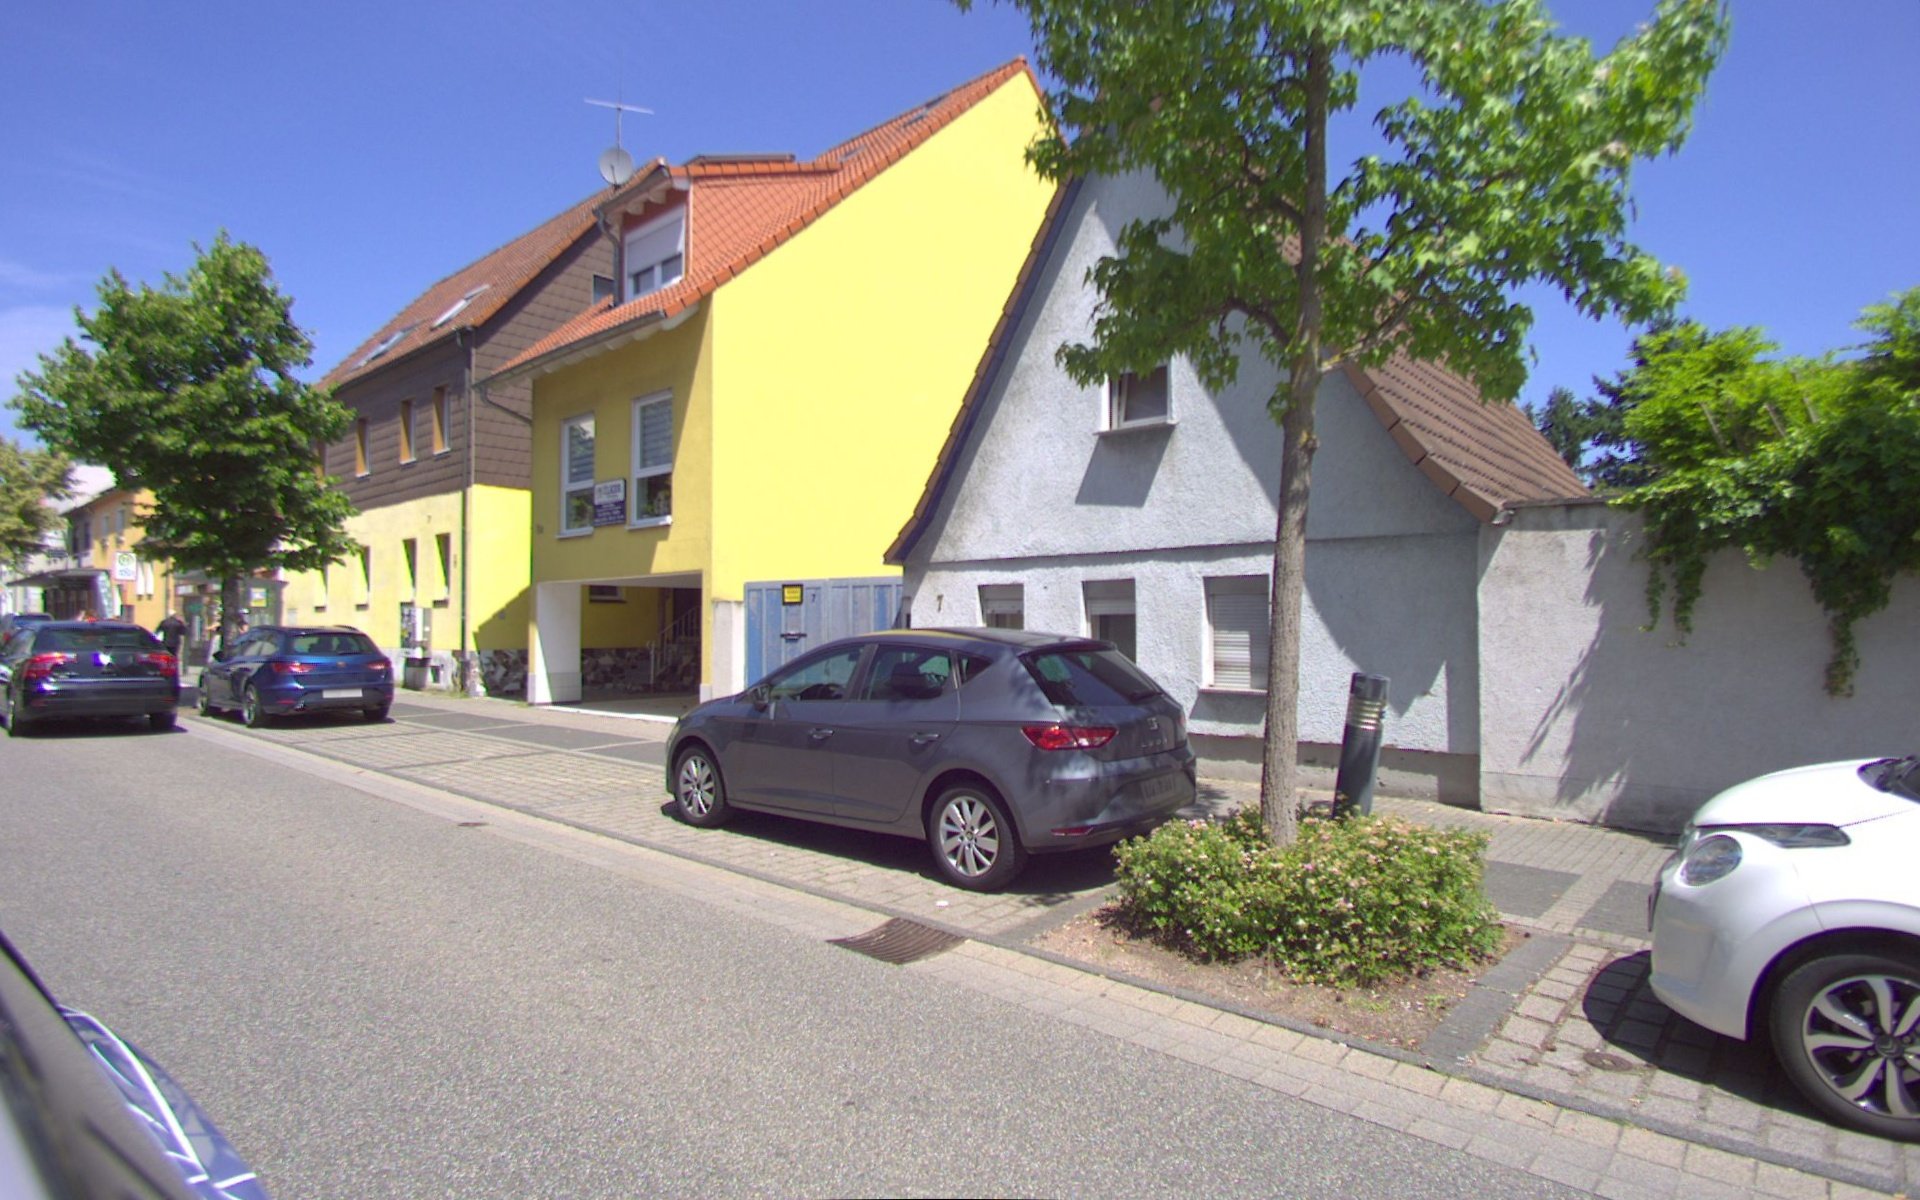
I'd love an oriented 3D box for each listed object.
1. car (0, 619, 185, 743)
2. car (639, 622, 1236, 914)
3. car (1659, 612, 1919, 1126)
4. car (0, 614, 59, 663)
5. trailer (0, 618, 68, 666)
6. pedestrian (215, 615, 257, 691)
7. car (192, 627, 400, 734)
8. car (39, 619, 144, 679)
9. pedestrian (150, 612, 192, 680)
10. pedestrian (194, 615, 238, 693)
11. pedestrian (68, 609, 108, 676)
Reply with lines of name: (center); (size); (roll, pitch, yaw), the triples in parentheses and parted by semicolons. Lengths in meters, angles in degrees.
car: (-12.312, 1.035, 14.070); (3.998, 1.484, 1.671); (-1, -3, 41)
car: (-0.369, 0.877, 6.978); (4.096, 1.441, 1.628); (-1, -2, 41)
car: (4.034, 0.760, 2.690); (3.409, 1.441, 1.537); (-1, -3, 42)
car: (-36.858, 1.470, 39.718); (3.997, 1.765, 1.674); (-1, 0, 40)
trailer: (-33.894, 1.502, 36.882); (3.880, 1.593, 1.474); (-2, 0, 40)
pedestrian: (-15.784, 1.144, 22.074); (0.528, 1.614, 0.623); (-2, -2, 42)
car: (-10.191, 1.117, 15.406); (4.157, 1.418, 1.638); (-1, -2, 42)
car: (-24.553, 1.334, 28.576); (4.157, 1.587, 1.730); (-1, -2, 42)
pedestrian: (-19.121, 1.112, 24.522); (0.771, 1.614, 0.654); (-2, -2, 42)
pedestrian: (-15.693, 1.119, 21.337); (0.528, 1.614, 0.623); (-2, -2, 42)
pedestrian: (-22.053, 1.077, 25.588); (0.624, 1.668, 0.635); (-2, -3, 42)
